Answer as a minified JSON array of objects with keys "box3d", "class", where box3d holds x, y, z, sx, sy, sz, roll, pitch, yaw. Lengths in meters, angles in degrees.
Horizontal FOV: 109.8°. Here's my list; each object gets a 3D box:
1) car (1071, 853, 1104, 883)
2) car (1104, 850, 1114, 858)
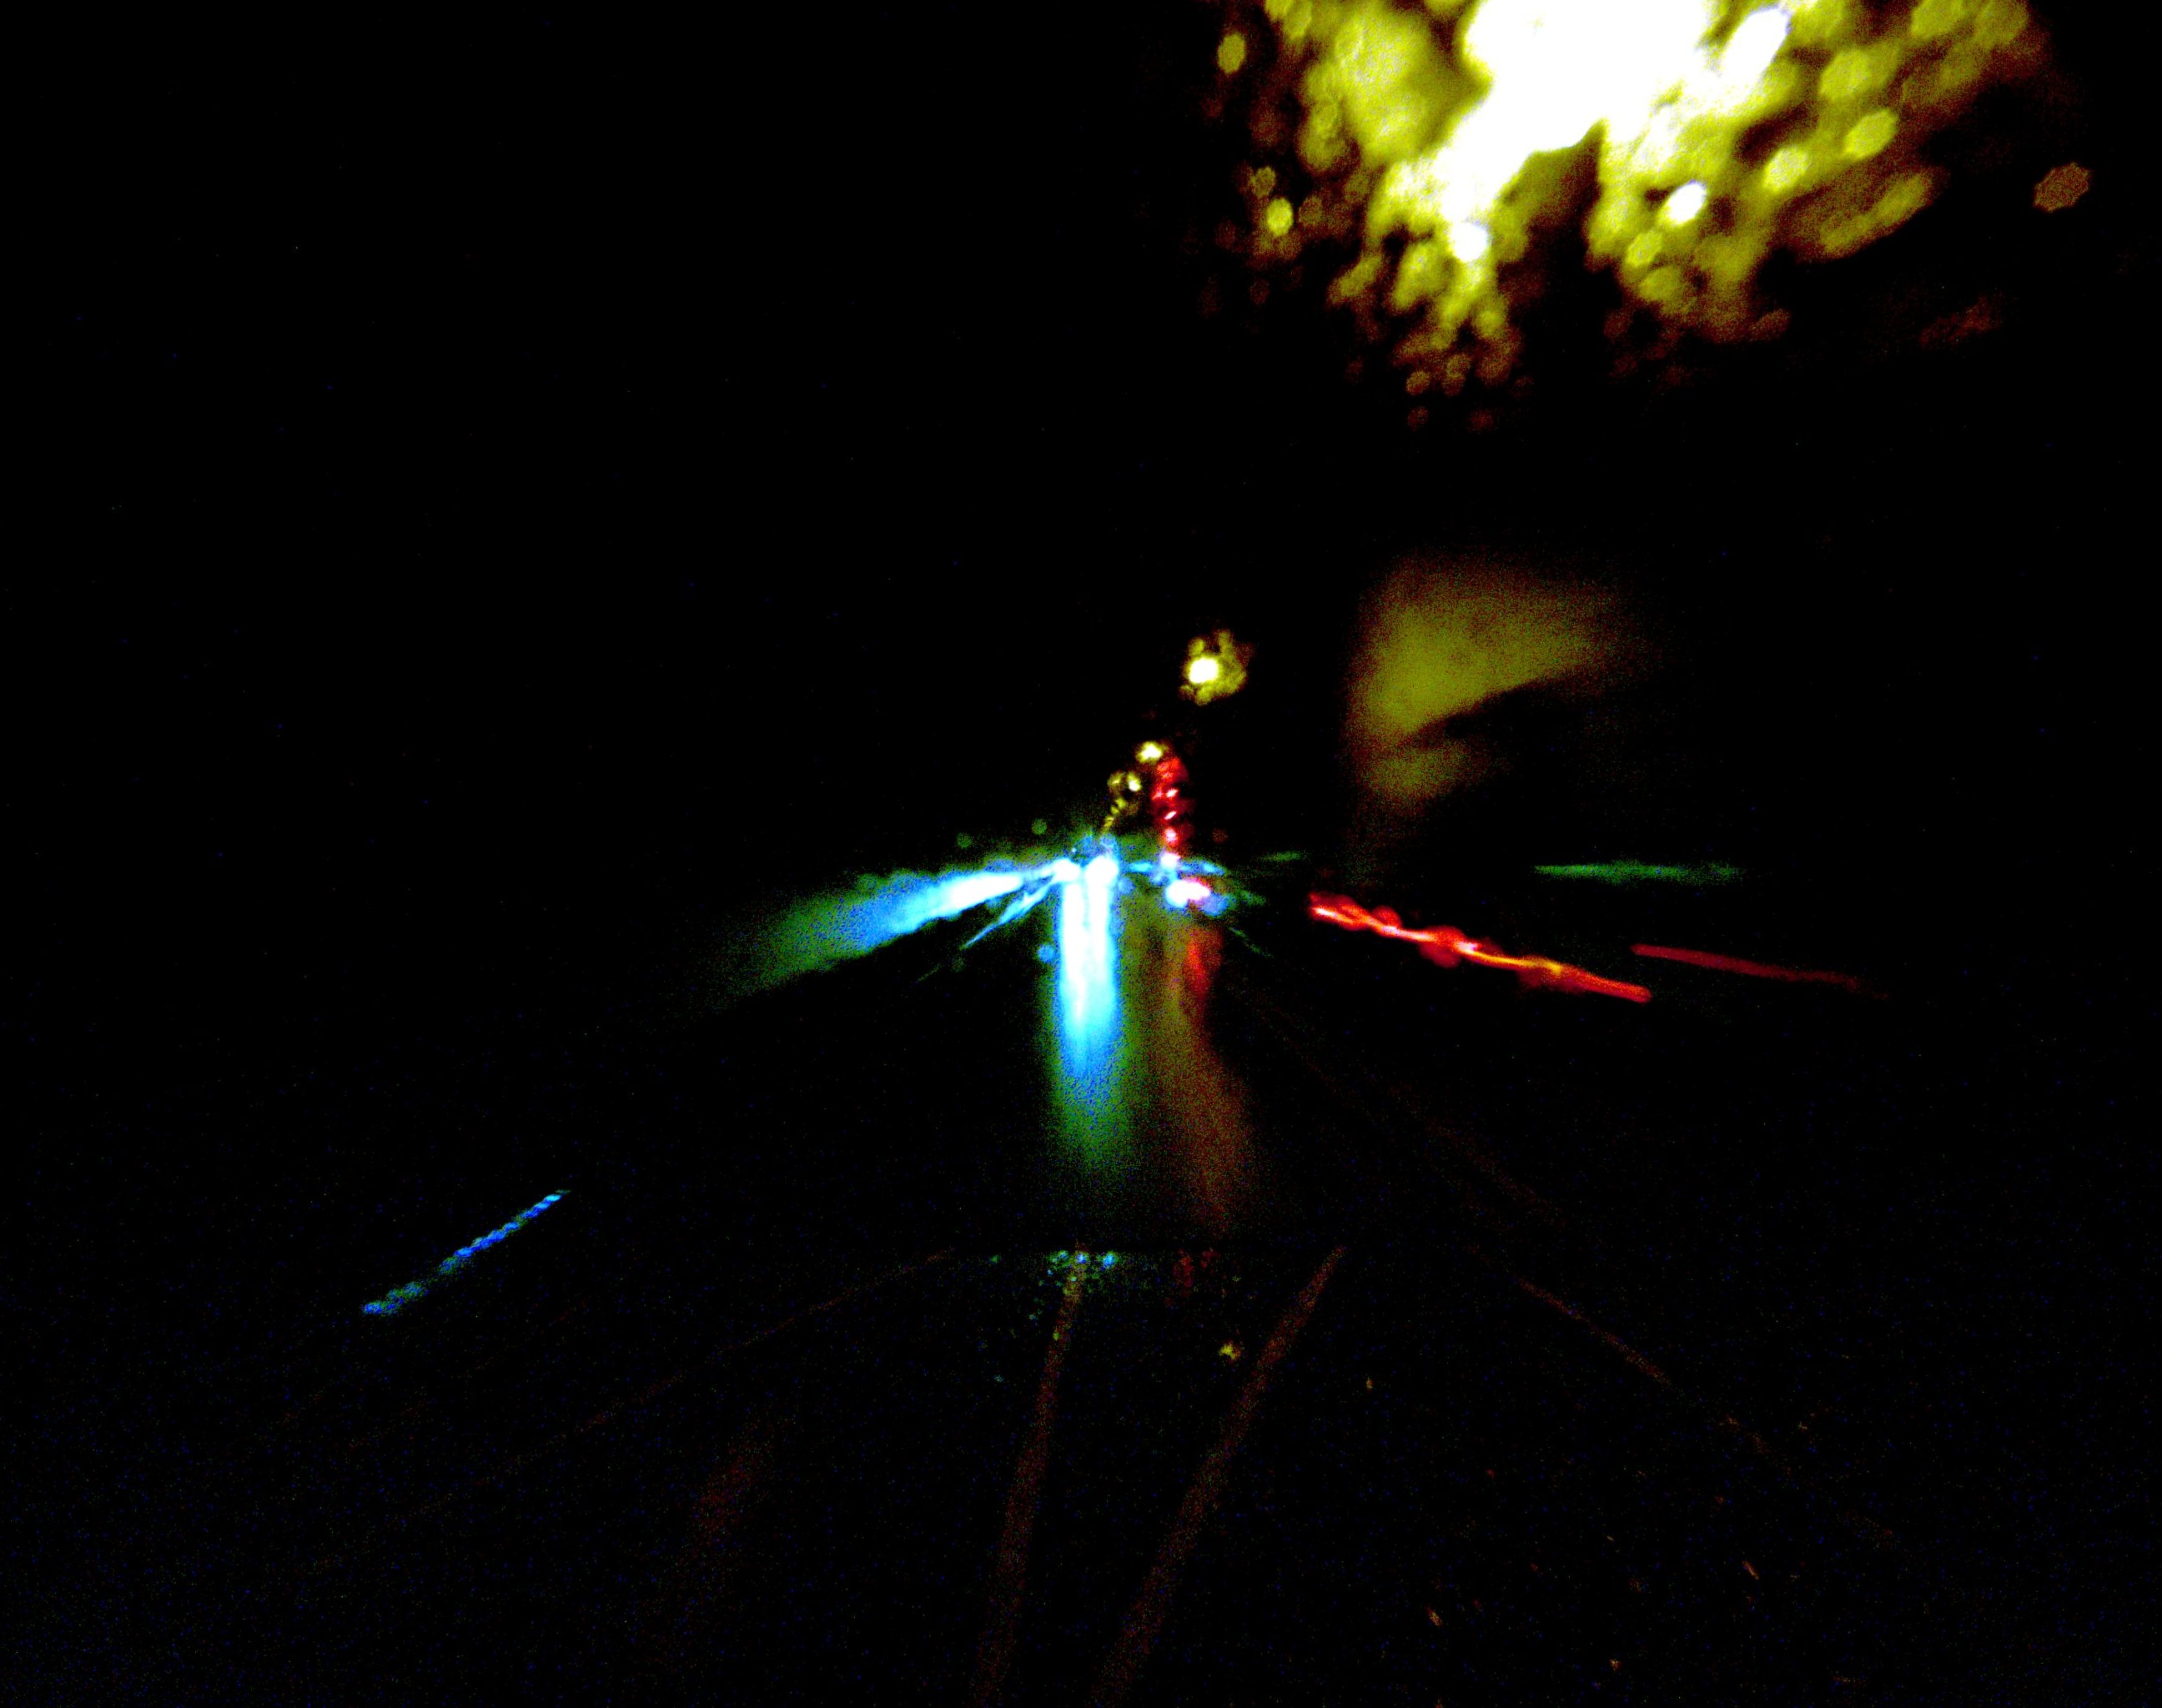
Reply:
[{"box3d":[0.427,0.745,42.911,1.730,1.595,4.000,-1,0,2],"class":"car"},{"box3d":[6.033,0.048,162.956,1.888,1.595,4.000,-1,0,3],"class":"car"}]
